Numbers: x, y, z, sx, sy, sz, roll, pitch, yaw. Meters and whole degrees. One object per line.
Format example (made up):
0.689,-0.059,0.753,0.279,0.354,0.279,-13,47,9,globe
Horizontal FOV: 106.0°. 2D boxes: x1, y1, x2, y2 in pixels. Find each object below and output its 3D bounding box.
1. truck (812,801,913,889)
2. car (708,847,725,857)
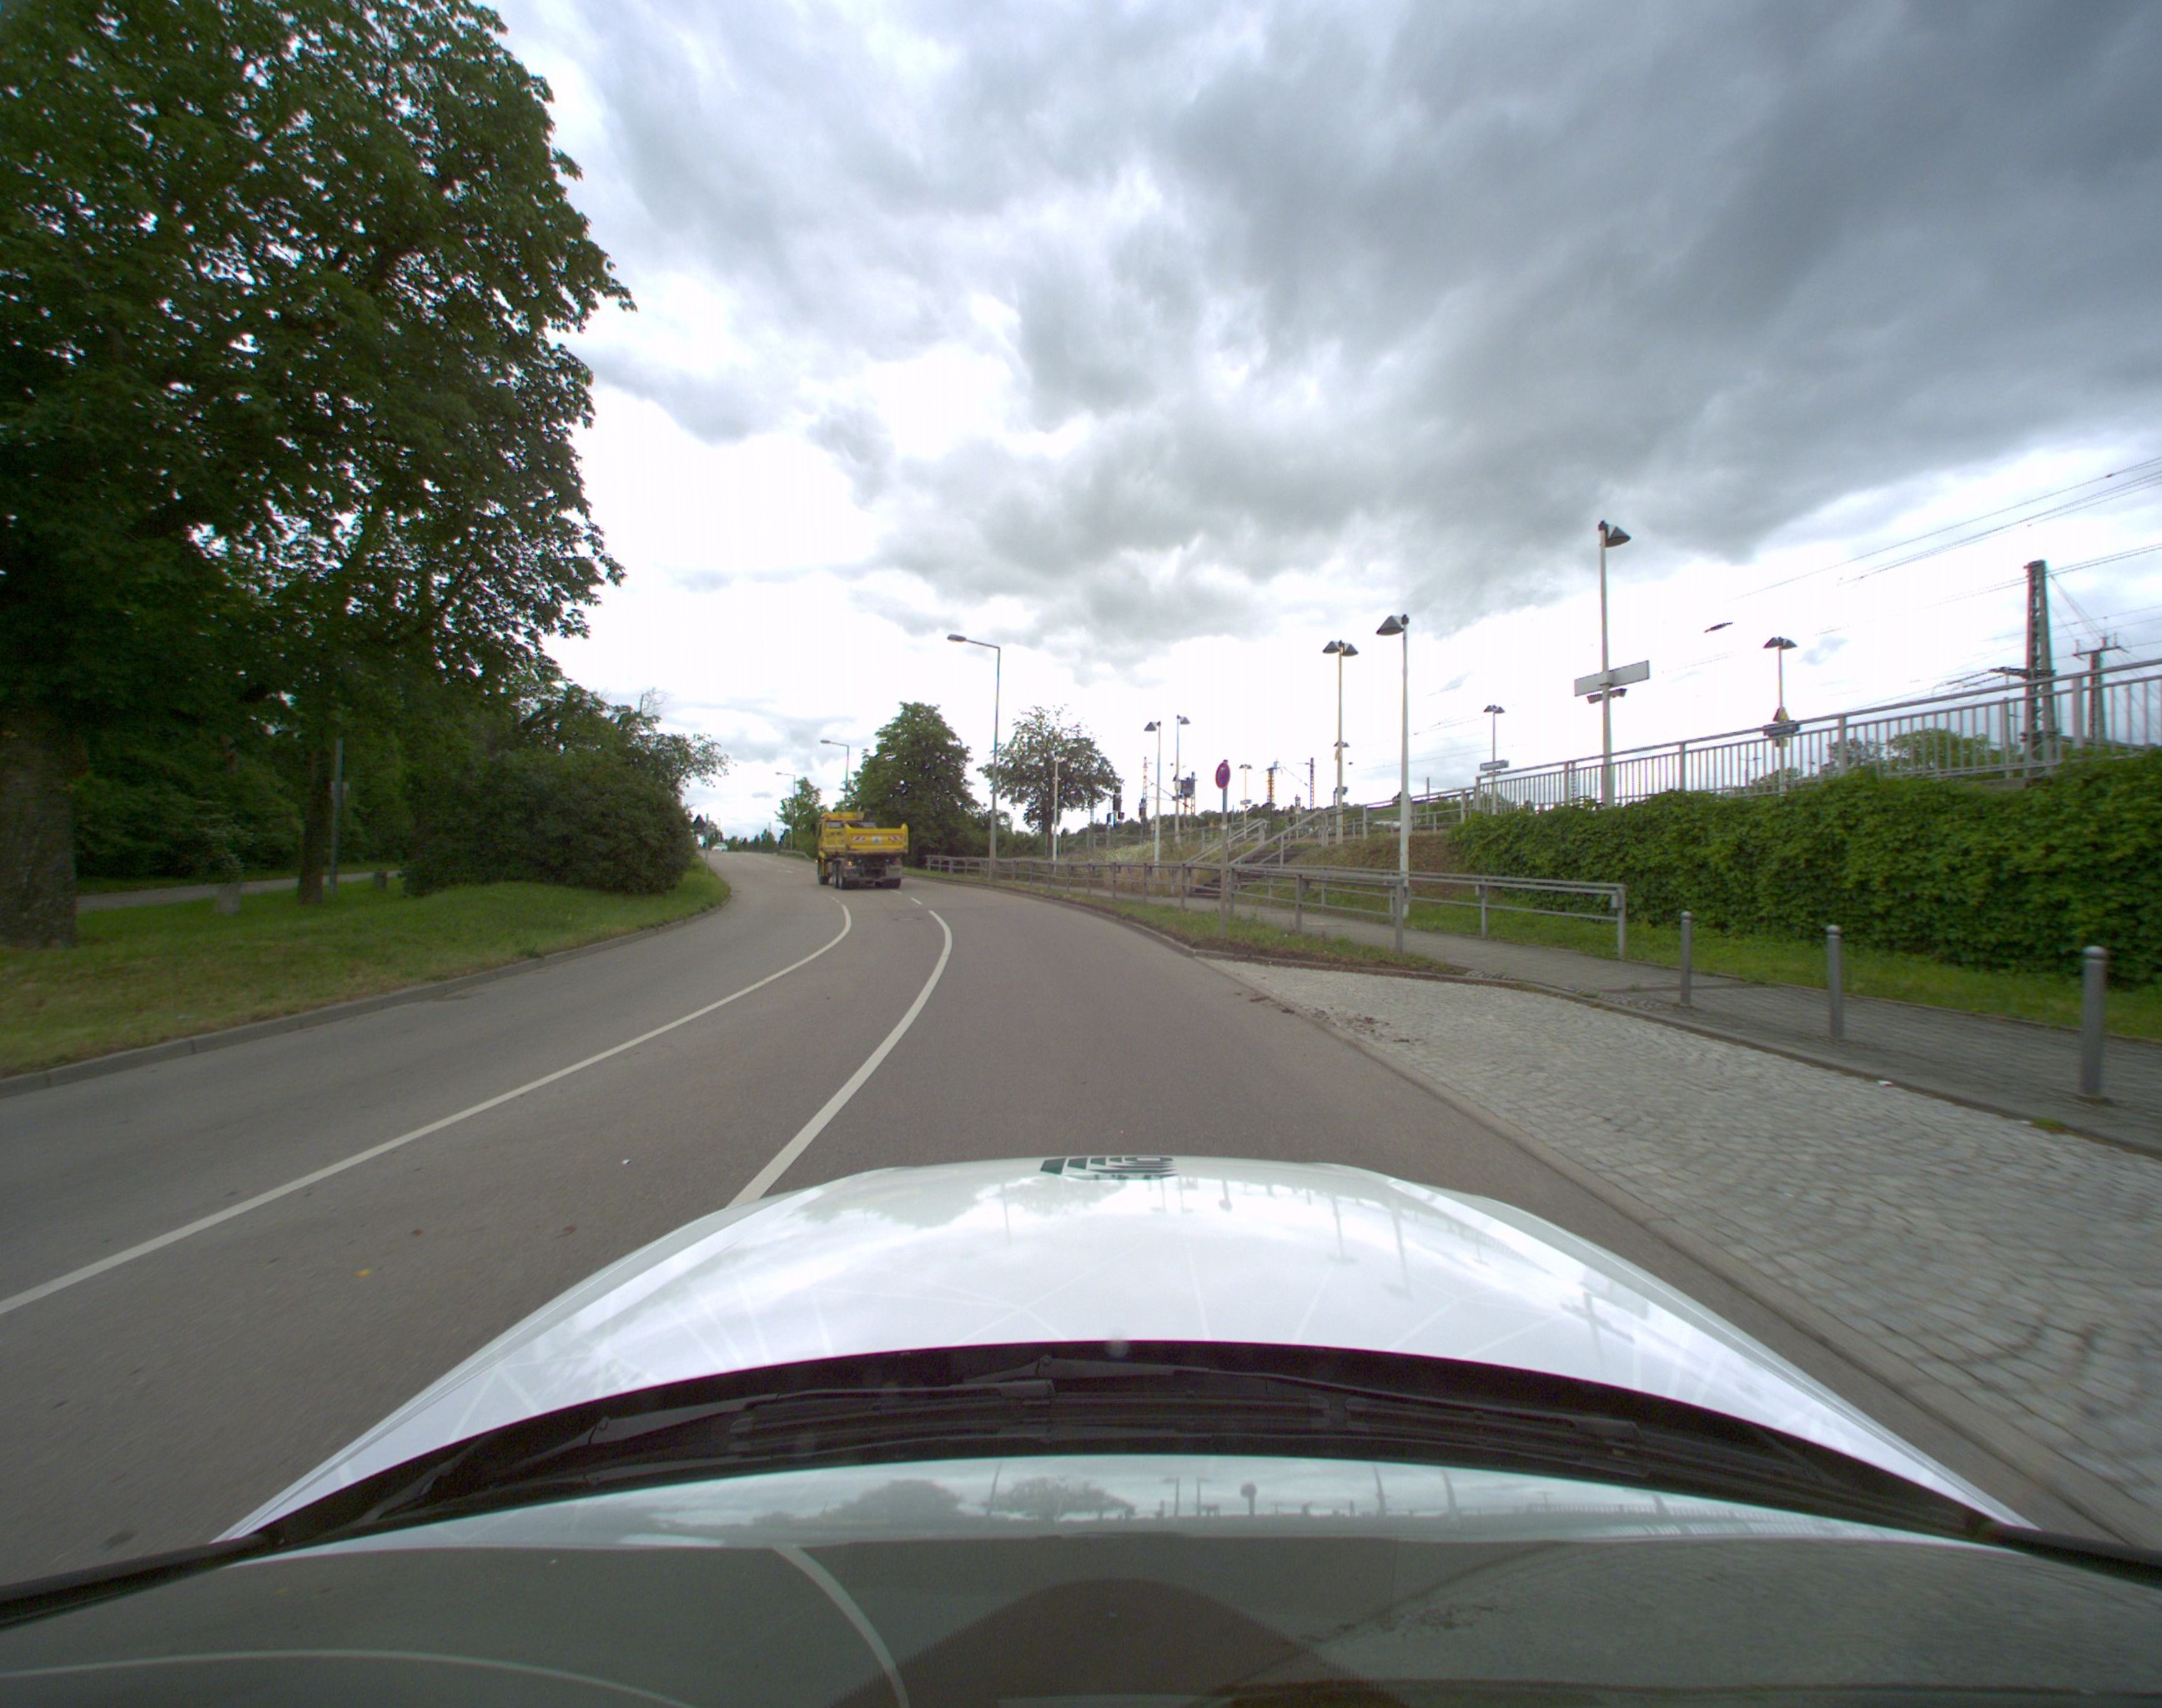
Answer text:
-10.012,-0.414,36.620,2.780,3.483,8.058,-1,1,-27,truck
-59.505,-0.314,133.010,1.998,1.640,3.976,2,-1,-17,car
